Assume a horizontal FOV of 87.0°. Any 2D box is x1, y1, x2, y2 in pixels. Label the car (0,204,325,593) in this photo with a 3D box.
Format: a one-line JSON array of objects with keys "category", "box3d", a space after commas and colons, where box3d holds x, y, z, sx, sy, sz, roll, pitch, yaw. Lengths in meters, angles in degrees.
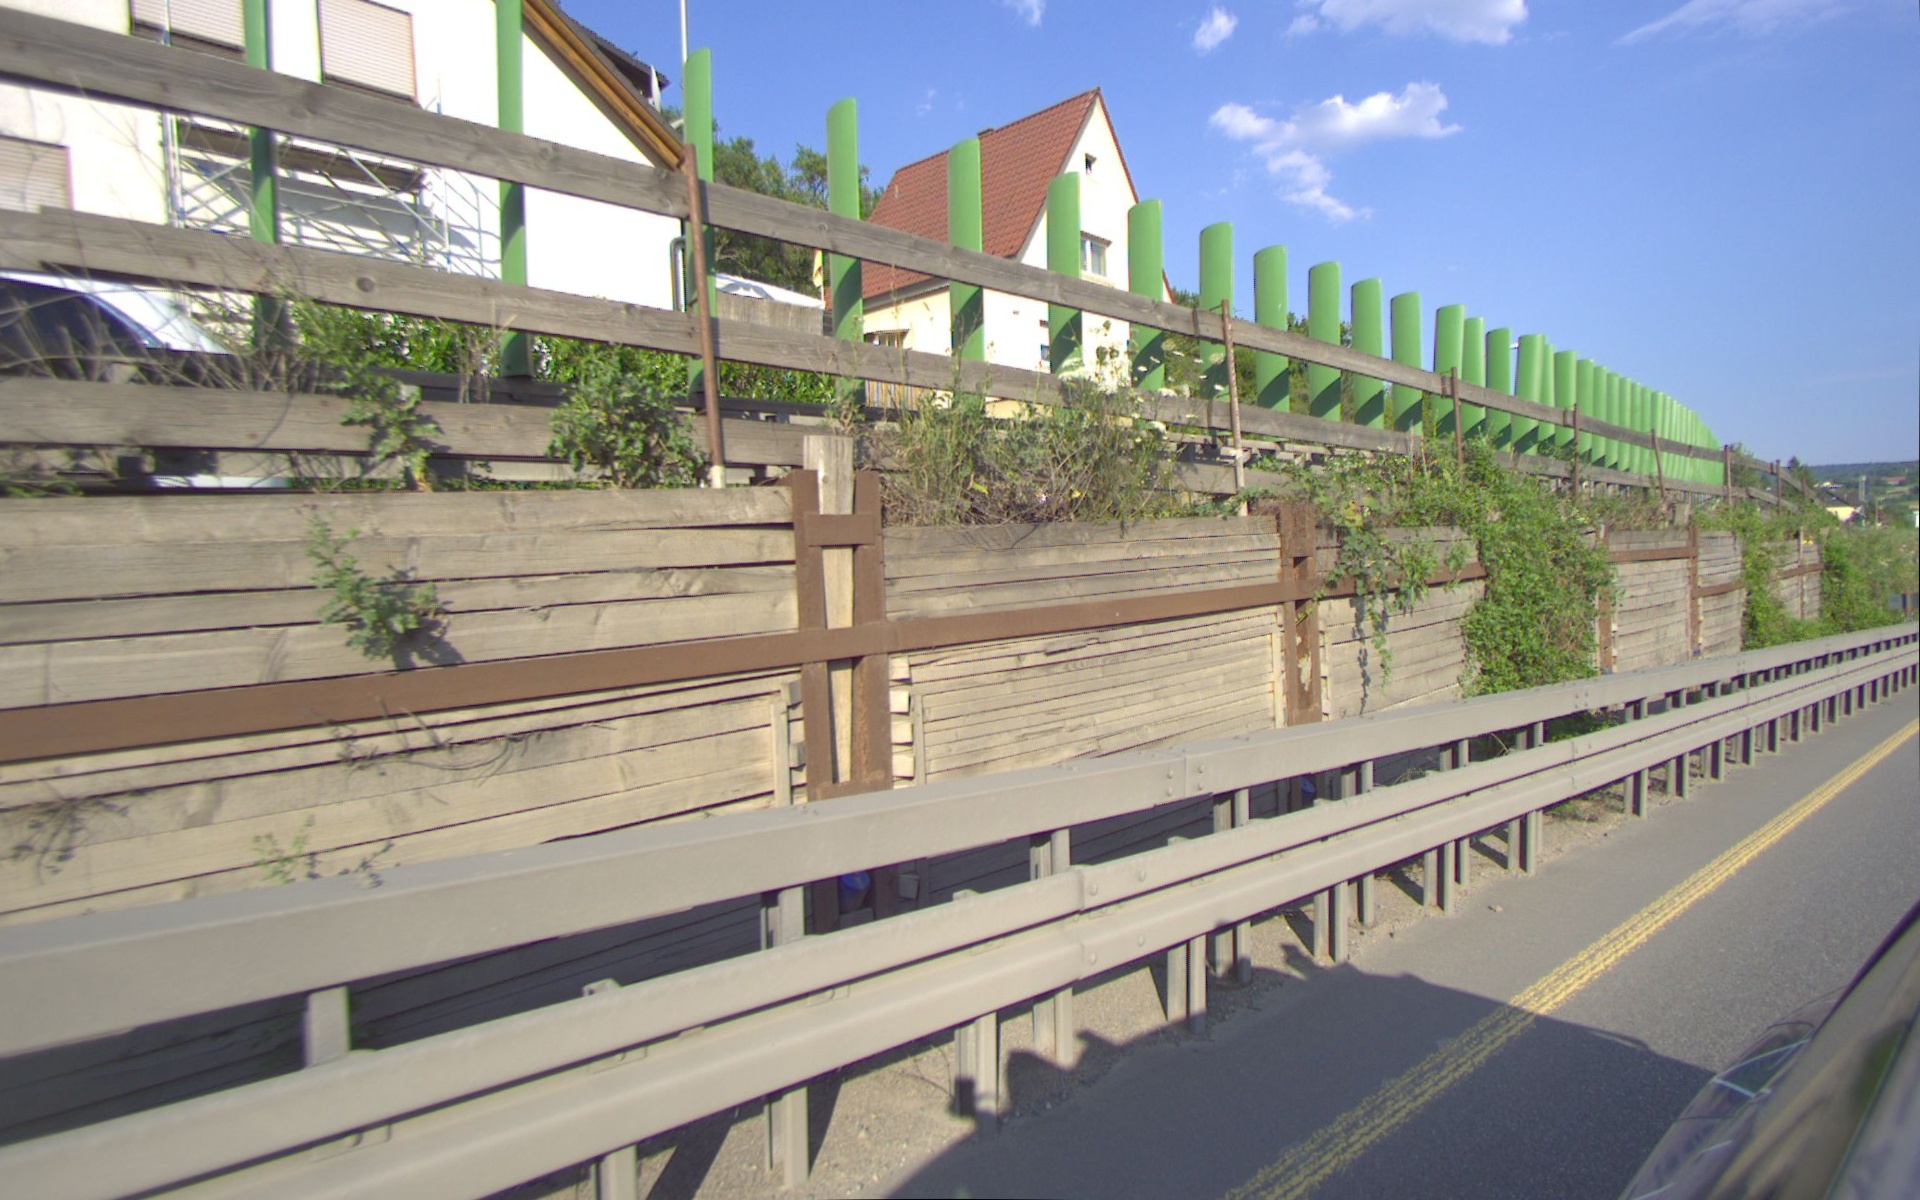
[{"category": "car", "box3d": [-5.512, -0.831, 4.204, 1.698, 1.678, 4.575, 1, 3, 45]}]
